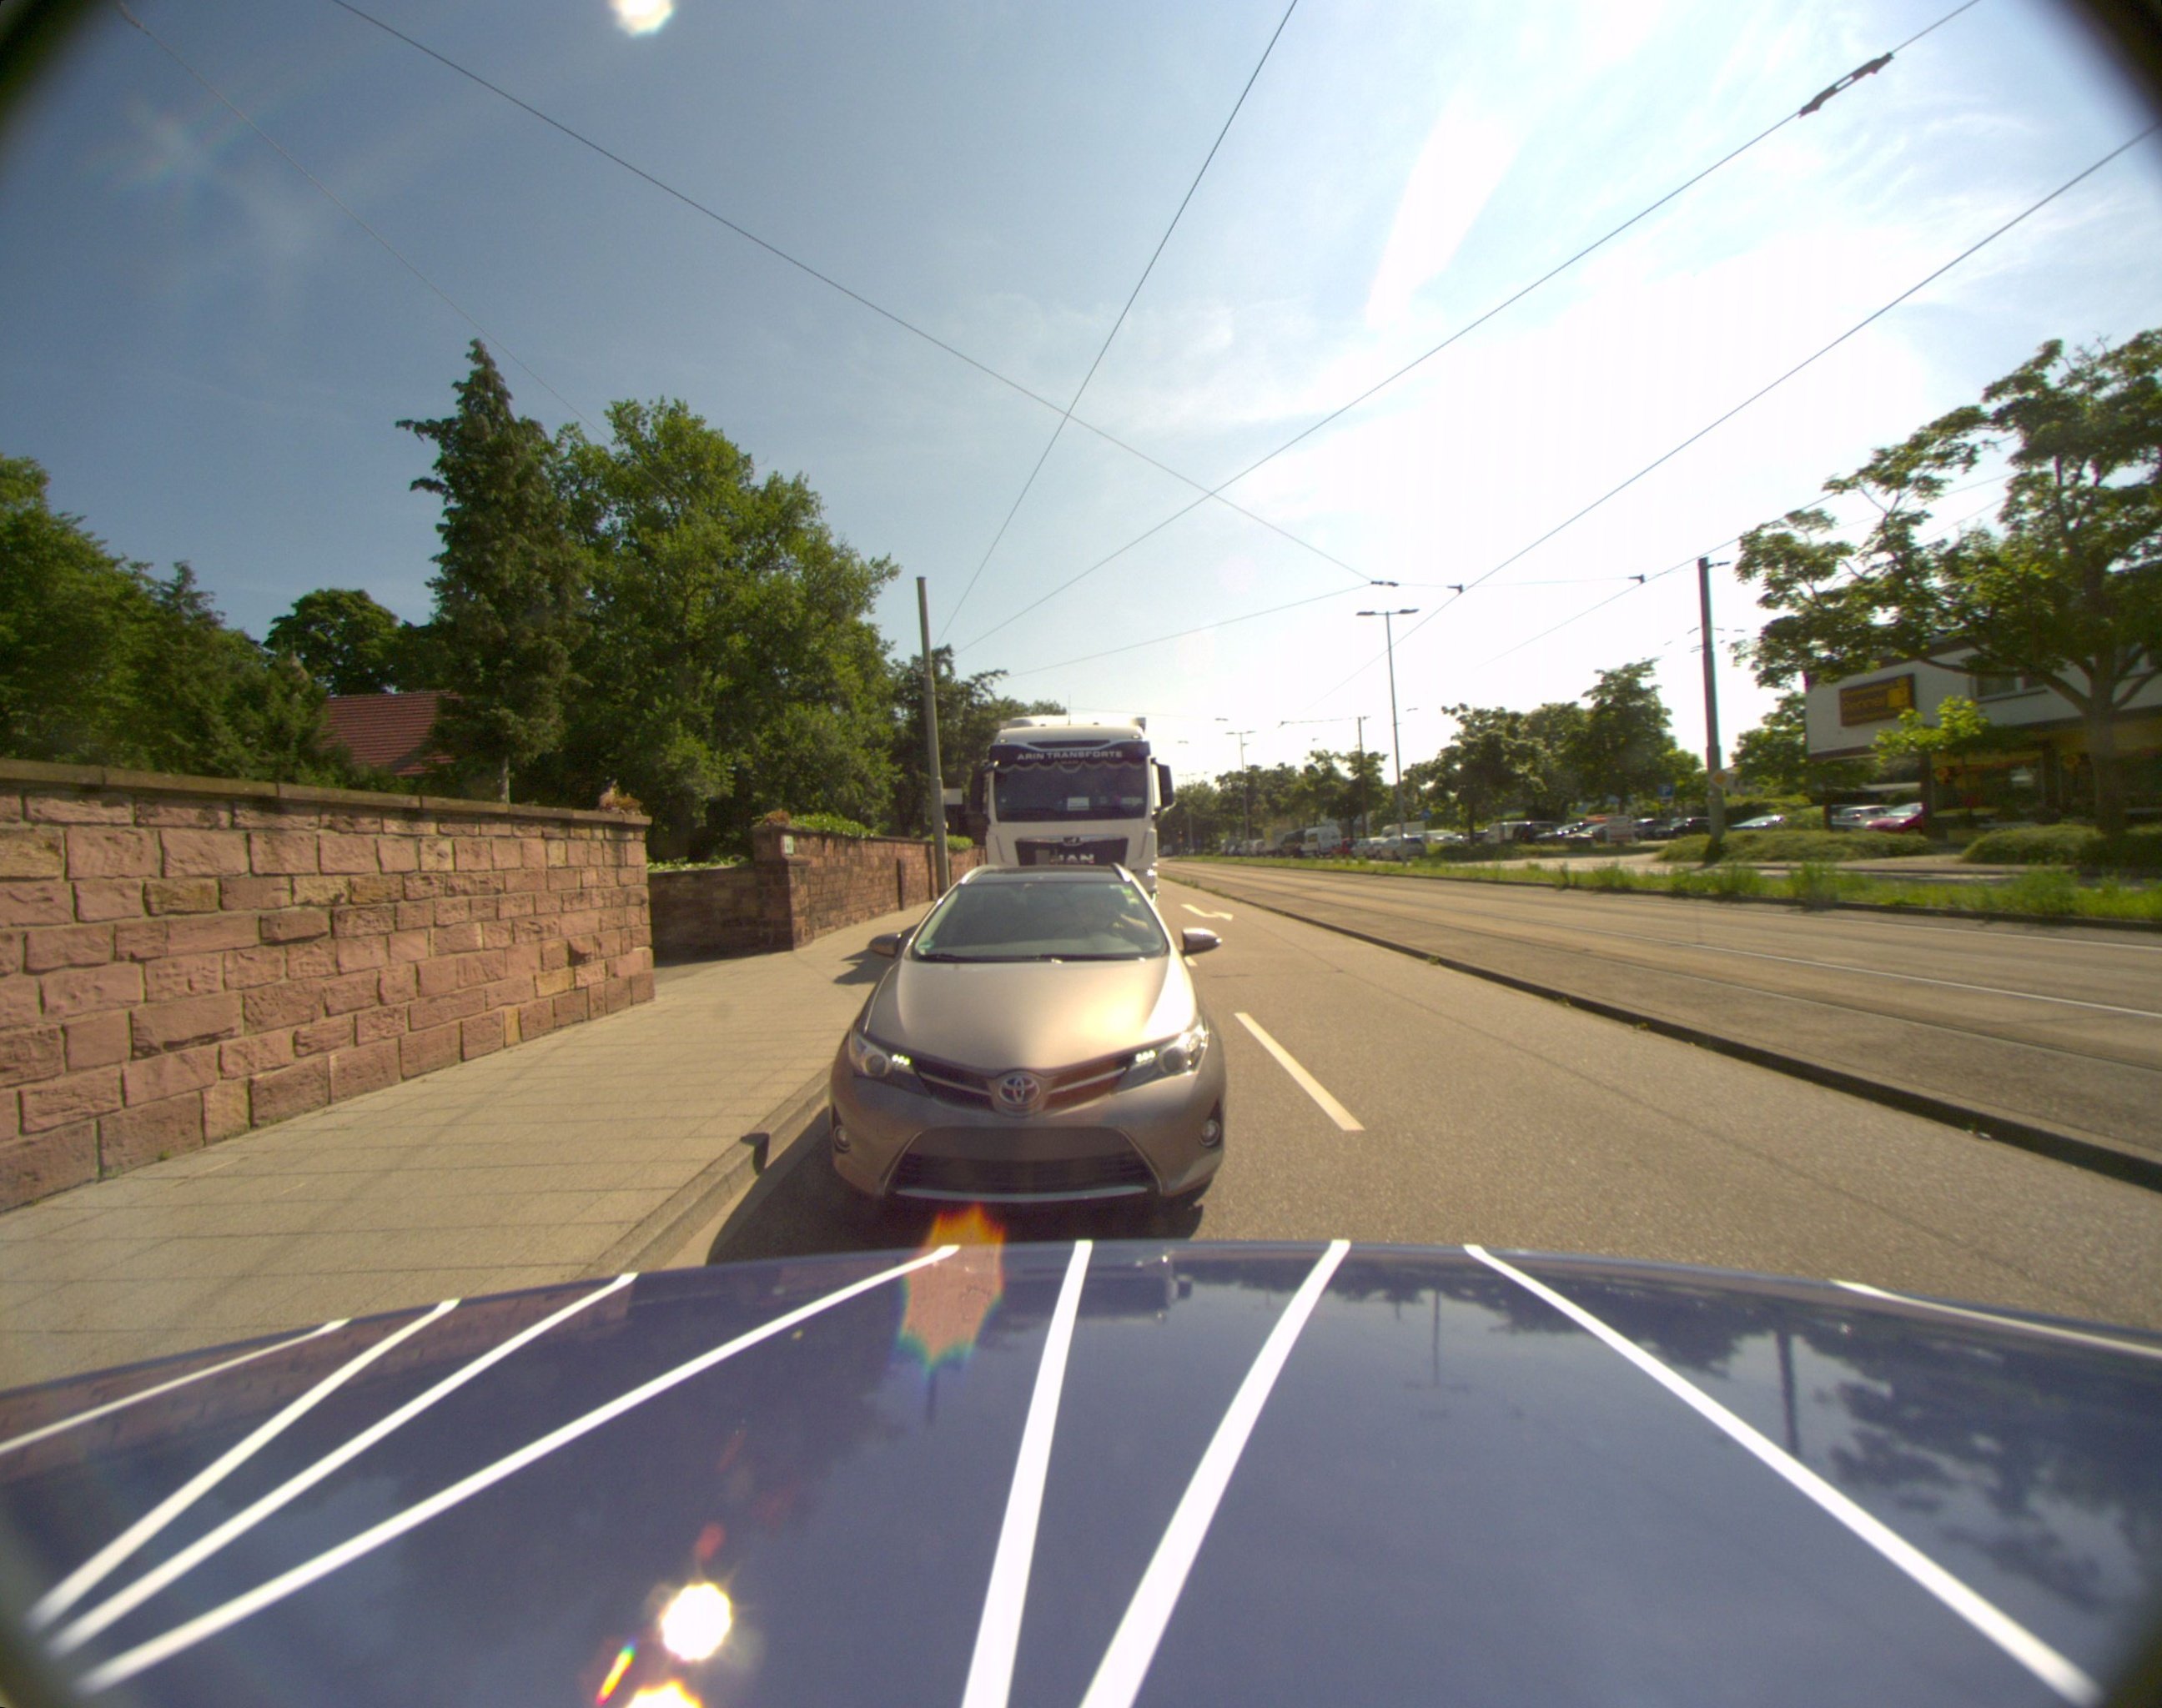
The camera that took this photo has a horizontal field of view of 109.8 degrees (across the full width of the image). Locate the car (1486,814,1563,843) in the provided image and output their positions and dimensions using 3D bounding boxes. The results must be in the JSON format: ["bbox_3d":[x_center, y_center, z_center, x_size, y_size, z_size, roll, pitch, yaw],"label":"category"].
[{"bbox_3d":[30.692,-1.774,52.672,4.117,1.728,1.990,-3,1,-2],"label":"car"}]

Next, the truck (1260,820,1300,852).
[{"bbox_3d":[20.538,-1.802,78.782,2.508,2.917,5.903,-6,0,2],"label":"truck"}]

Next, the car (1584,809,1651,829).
[{"bbox_3d":[44.118,-2.859,62.520,4.254,1.327,1.676,-3,0,-1],"label":"car"}]

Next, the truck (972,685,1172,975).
[{"bbox_3d":[-0.031,-0.382,15.081,2.628,3.906,9.285,-2,1,1],"label":"truck"}]

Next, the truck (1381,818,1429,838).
[{"bbox_3d":[44.810,-3.568,105.221,5.652,2.367,1.990,-3,1,-2],"label":"truck"}]

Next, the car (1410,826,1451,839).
[{"bbox_3d":[43.733,-2.631,95.113,4.253,1.327,1.676,-3,0,1],"label":"car"}]

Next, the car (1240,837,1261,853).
[{"bbox_3d":[20.972,-1.070,94.224,1.502,1.835,4.059,-6,0,0],"label":"car"}]

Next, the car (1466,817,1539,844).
[{"bbox_3d":[30.531,-1.687,55.142,4.117,1.728,1.990,-3,1,-2],"label":"car"}]

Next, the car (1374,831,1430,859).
[{"bbox_3d":[20.286,-0.538,48.173,1.675,1.524,4.256,-6,0,1],"label":"car"}]

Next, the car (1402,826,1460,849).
[{"bbox_3d":[31.166,-1.406,67.883,2.594,1.800,5.741,-3,0,2],"label":"car"}]

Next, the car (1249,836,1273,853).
[{"bbox_3d":[20.672,-1.059,87.365,1.502,1.793,4.633,-6,0,1],"label":"car"}]

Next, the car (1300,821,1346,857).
[{"bbox_3d":[20.280,-1.230,63.993,2.062,2.638,5.203,-6,0,1],"label":"car"}]

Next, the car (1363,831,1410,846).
[{"bbox_3d":[32.313,-1.600,80.400,4.253,1.327,1.676,-3,0,1],"label":"car"}]

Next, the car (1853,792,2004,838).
[{"bbox_3d":[35.261,-1.583,31.686,4.252,1.595,1.676,-3,1,2],"label":"car"}]

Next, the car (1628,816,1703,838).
[{"bbox_3d":[44.111,-2.027,57.386,4.252,1.327,1.676,-3,0,2],"label":"car"}]

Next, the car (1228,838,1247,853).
[{"bbox_3d":[20.618,-1.097,100.075,1.502,1.775,3.687,-6,0,0],"label":"car"}]

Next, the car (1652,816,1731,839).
[{"bbox_3d":[44.017,-1.918,54.839,4.252,1.327,1.676,-3,0,2],"label":"car"}]

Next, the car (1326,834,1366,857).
[{"bbox_3d":[20.477,-0.635,58.759,1.675,1.524,3.793,-6,0,1],"label":"car"}]

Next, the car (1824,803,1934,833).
[{"bbox_3d":[44.333,-1.994,42.276,4.252,1.327,1.676,-3,0,2],"label":"car"}]

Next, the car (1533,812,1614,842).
[{"bbox_3d":[30.509,-1.657,47.118,3.810,1.625,1.676,-3,1,2],"label":"car"}]

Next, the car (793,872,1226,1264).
[{"bbox_3d":[-0.261,0.894,4.989,1.654,1.374,4.000,-2,0,0],"label":"car"}]

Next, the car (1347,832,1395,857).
[{"bbox_3d":[20.444,-0.630,53.661,1.675,1.524,4.256,-6,0,1],"label":"car"}]

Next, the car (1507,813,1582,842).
[{"bbox_3d":[30.577,-1.719,50.185,3.810,1.625,1.676,-3,1,2],"label":"car"}]

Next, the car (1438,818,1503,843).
[{"bbox_3d":[31.230,-1.839,60.981,4.117,1.728,1.990,-3,1,-2],"label":"car"}]

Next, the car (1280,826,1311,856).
[{"bbox_3d":[19.821,-1.186,70.428,1.502,2.609,4.007,-6,0,1],"label":"car"}]
